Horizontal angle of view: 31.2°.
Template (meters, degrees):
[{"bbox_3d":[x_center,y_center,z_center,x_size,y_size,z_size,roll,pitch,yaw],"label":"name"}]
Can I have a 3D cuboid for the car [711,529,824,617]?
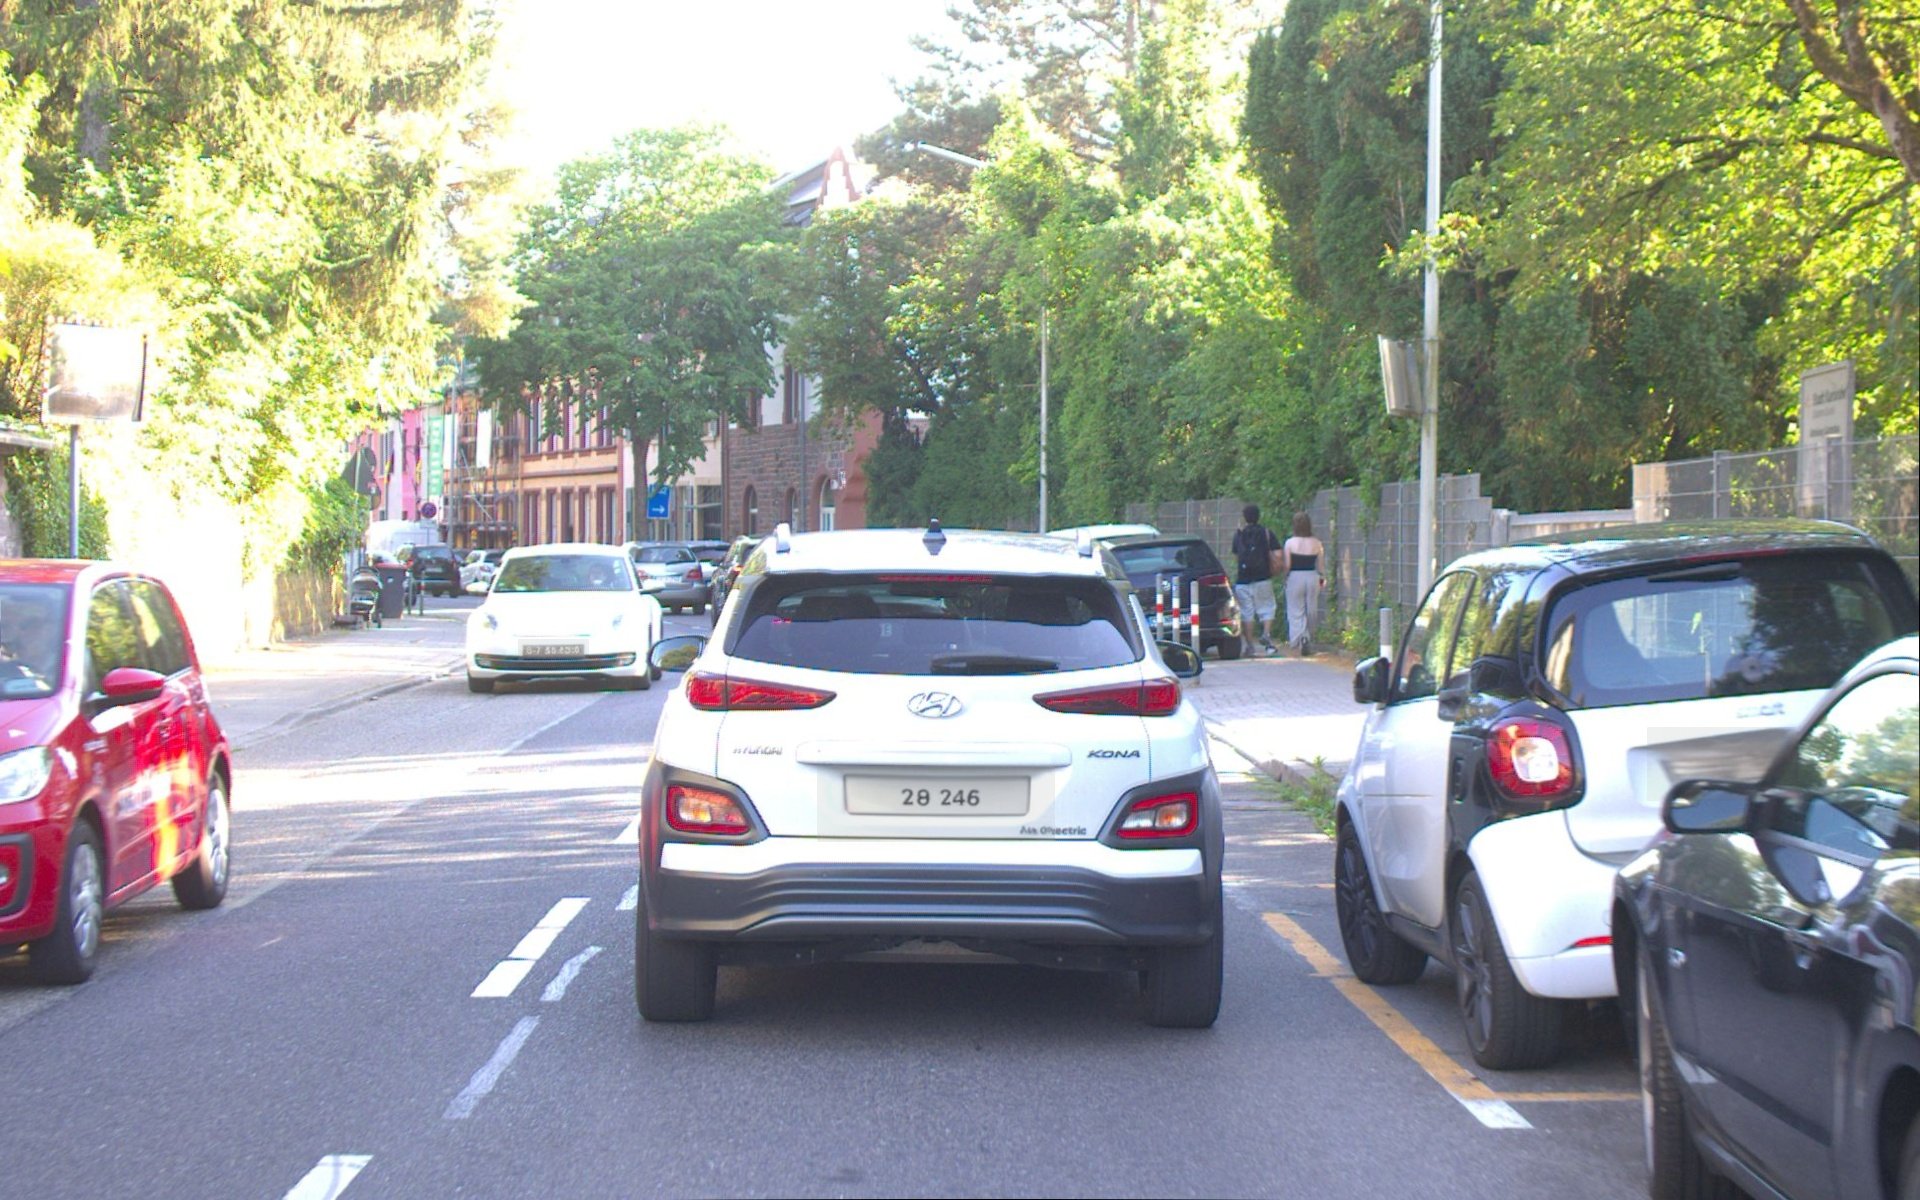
[{"bbox_3d":[-3.302,-0.481,58.644,1.592,1.456,3.100,0,1,-10],"label":"car"}]

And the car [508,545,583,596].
[{"bbox_3d":[-10.693,-0.773,88.610,1.526,1.256,3.362,0,1,-14],"label":"car"}]

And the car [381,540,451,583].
[{"bbox_3d":[-16.613,-1.184,104.915,1.526,1.256,3.362,-1,1,-20],"label":"car"}]

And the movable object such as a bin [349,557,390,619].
[{"bbox_3d":[-9.852,-0.206,57.371,0.495,1.008,1.113,1,0,-1],"label":"movable object such as a bin"}]

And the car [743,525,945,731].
[{"bbox_3d":[-0.965,0.173,27.590,1.511,1.528,3.548,0,1,-3],"label":"car"}]

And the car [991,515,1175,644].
[{"bbox_3d":[1.563,-0.274,45.094,1.593,1.560,4.001,-2,1,-9],"label":"car"}]

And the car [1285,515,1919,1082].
[{"bbox_3d":[2.138,0.519,11.114,1.624,1.504,2.904,-2,2,-5],"label":"car"}]

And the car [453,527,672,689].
[{"bbox_3d":[-4.017,0.049,35.309,1.741,1.469,4.000,-3,1,0],"label":"car"}]

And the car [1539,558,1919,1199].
[{"bbox_3d":[2.322,0.715,6.369,1.710,1.492,4.814,2,1,1],"label":"car"}]

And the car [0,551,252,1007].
[{"bbox_3d":[-3.808,0.577,12.960,1.550,1.461,3.569,-2,1,-1],"label":"car"}]

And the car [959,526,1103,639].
[{"bbox_3d":[0.996,-0.275,50.347,1.593,1.514,3.933,-3,1,-6],"label":"car"}]

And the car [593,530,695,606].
[{"bbox_3d":[-6.818,-0.706,74.019,1.589,1.577,3.362,0,1,-16],"label":"car"}]

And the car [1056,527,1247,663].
[{"bbox_3d":[2.156,-0.095,39.673,1.686,1.426,4.001,-2,1,-4],"label":"car"}]

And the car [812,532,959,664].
[{"bbox_3d":[-0.848,-0.053,40.881,1.570,1.472,3.548,1,1,1],"label":"car"}]

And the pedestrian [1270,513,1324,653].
[{"bbox_3d":[3.846,-0.199,39.212,0.503,1.563,0.503,-2,1,-1],"label":"pedestrian"}]

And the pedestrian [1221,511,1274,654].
[{"bbox_3d":[3.277,-0.207,39.209,0.503,1.601,0.491,-2,1,-1],"label":"pedestrian"}]

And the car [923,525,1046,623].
[{"bbox_3d":[0.369,-0.456,56.127,1.593,1.484,3.603,-3,1,-6],"label":"car"}]

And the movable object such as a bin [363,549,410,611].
[{"bbox_3d":[-11.235,-0.399,67.346,0.792,1.185,0.773,1,0,-2],"label":"movable object such as a bin"}]

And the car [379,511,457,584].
[{"bbox_3d":[-19.524,-1.895,123.749,1.928,2.574,4.395,-1,1,-20],"label":"car"}]

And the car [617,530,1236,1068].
[{"bbox_3d":[-0.116,0.544,11.943,1.772,1.537,4.000,1,1,-1],"label":"car"}]

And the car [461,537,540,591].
[{"bbox_3d":[-14.748,-1.160,110.119,1.755,1.611,4.002,1,2,-18],"label":"car"}]
